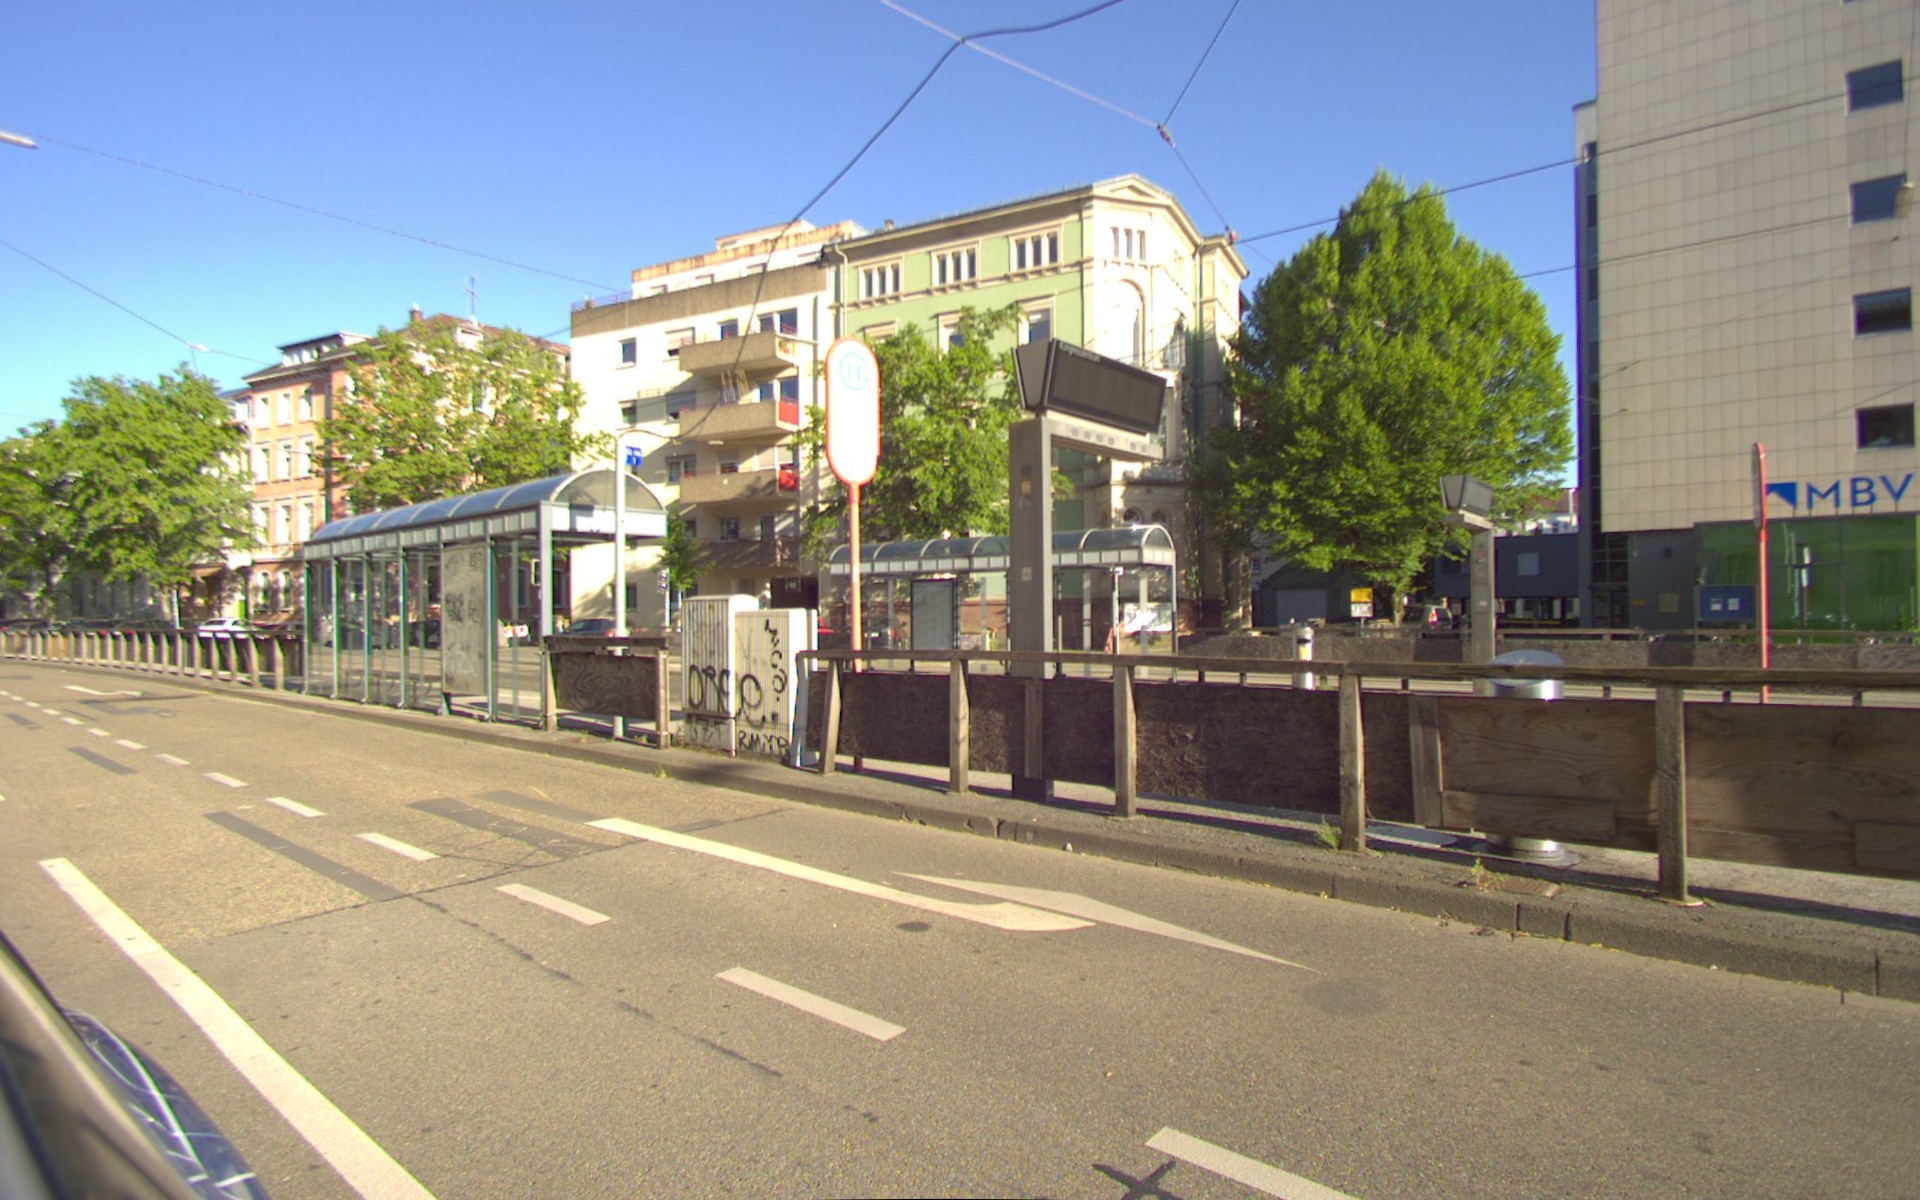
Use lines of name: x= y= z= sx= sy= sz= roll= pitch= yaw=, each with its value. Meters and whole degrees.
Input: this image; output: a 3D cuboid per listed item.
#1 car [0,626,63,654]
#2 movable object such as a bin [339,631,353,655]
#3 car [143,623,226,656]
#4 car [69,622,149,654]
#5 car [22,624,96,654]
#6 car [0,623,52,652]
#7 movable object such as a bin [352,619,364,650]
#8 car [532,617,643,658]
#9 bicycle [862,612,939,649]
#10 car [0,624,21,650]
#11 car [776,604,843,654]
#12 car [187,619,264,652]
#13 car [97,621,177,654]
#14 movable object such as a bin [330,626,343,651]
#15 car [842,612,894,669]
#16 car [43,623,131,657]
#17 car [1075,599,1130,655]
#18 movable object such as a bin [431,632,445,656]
car: x=-58.334 y=2.485 z=62.956 sx=1.745 sy=1.496 sz=3.823 roll=-1 pitch=1 yaw=-1
movable object such as a bin: x=-28.783 y=2.011 z=47.435 sx=0.639 sy=1.076 sz=0.375 roll=-1 pitch=-2 yaw=40
car: x=-42.496 y=2.114 z=55.554 sx=1.664 sy=1.519 sz=3.926 roll=-2 pitch=1 yaw=-3
car: x=-49.224 y=2.168 z=58.618 sx=1.609 sy=1.629 sz=3.993 roll=-2 pitch=1 yaw=-7
car: x=-55.201 y=2.366 z=62.041 sx=1.682 sy=1.544 sz=3.284 roll=-2 pitch=2 yaw=-3
car: x=-60.840 y=2.399 z=64.884 sx=1.748 sy=1.666 sz=3.871 roll=-1 pitch=0 yaw=-1
movable object such as a bin: x=-28.572 y=1.628 z=48.000 sx=0.385 sy=1.437 sz=0.375 roll=-1 pitch=-2 yaw=40
car: x=-14.165 y=1.405 z=38.447 sx=4.278 sy=1.421 sz=1.693 roll=-1 pitch=1 yaw=32
bicycle: x=-2.308 y=1.176 z=39.066 sx=2.995 sy=1.409 sz=0.713 roll=-1 pitch=-1 yaw=27
car: x=-63.856 y=2.472 z=65.998 sx=1.748 sy=1.666 sz=3.872 roll=-1 pitch=0 yaw=-1
car: x=-4.807 y=0.893 z=32.866 sx=1.845 sy=1.436 sz=4.520 roll=0 pitch=0 yaw=-5
car: x=-39.332 y=1.876 z=54.327 sx=1.708 sy=1.533 sz=3.924 roll=-2 pitch=1 yaw=-9
car: x=-46.725 y=2.118 z=57.562 sx=1.609 sy=1.629 sz=3.993 roll=-2 pitch=1 yaw=-7
movable object such as a bin: x=-29.752 y=1.839 z=48.283 sx=0.639 sy=1.212 sz=0.375 roll=-1 pitch=-2 yaw=40
car: x=-2.978 y=1.258 z=32.944 sx=1.566 sy=1.654 sz=4.520 roll=0 pitch=0 yaw=-5
car: x=-52.095 y=2.366 z=60.503 sx=1.682 sy=1.735 sz=4.290 roll=-1 pitch=2 yaw=-4
car: x=4.423 y=0.791 z=31.499 sx=1.572 sy=1.581 sz=4.504 roll=0 pitch=0 yaw=8
movable object such as a bin: x=-24.916 y=2.094 z=48.339 sx=0.551 sy=1.105 sz=0.376 roll=0 pitch=-1 yaw=34
